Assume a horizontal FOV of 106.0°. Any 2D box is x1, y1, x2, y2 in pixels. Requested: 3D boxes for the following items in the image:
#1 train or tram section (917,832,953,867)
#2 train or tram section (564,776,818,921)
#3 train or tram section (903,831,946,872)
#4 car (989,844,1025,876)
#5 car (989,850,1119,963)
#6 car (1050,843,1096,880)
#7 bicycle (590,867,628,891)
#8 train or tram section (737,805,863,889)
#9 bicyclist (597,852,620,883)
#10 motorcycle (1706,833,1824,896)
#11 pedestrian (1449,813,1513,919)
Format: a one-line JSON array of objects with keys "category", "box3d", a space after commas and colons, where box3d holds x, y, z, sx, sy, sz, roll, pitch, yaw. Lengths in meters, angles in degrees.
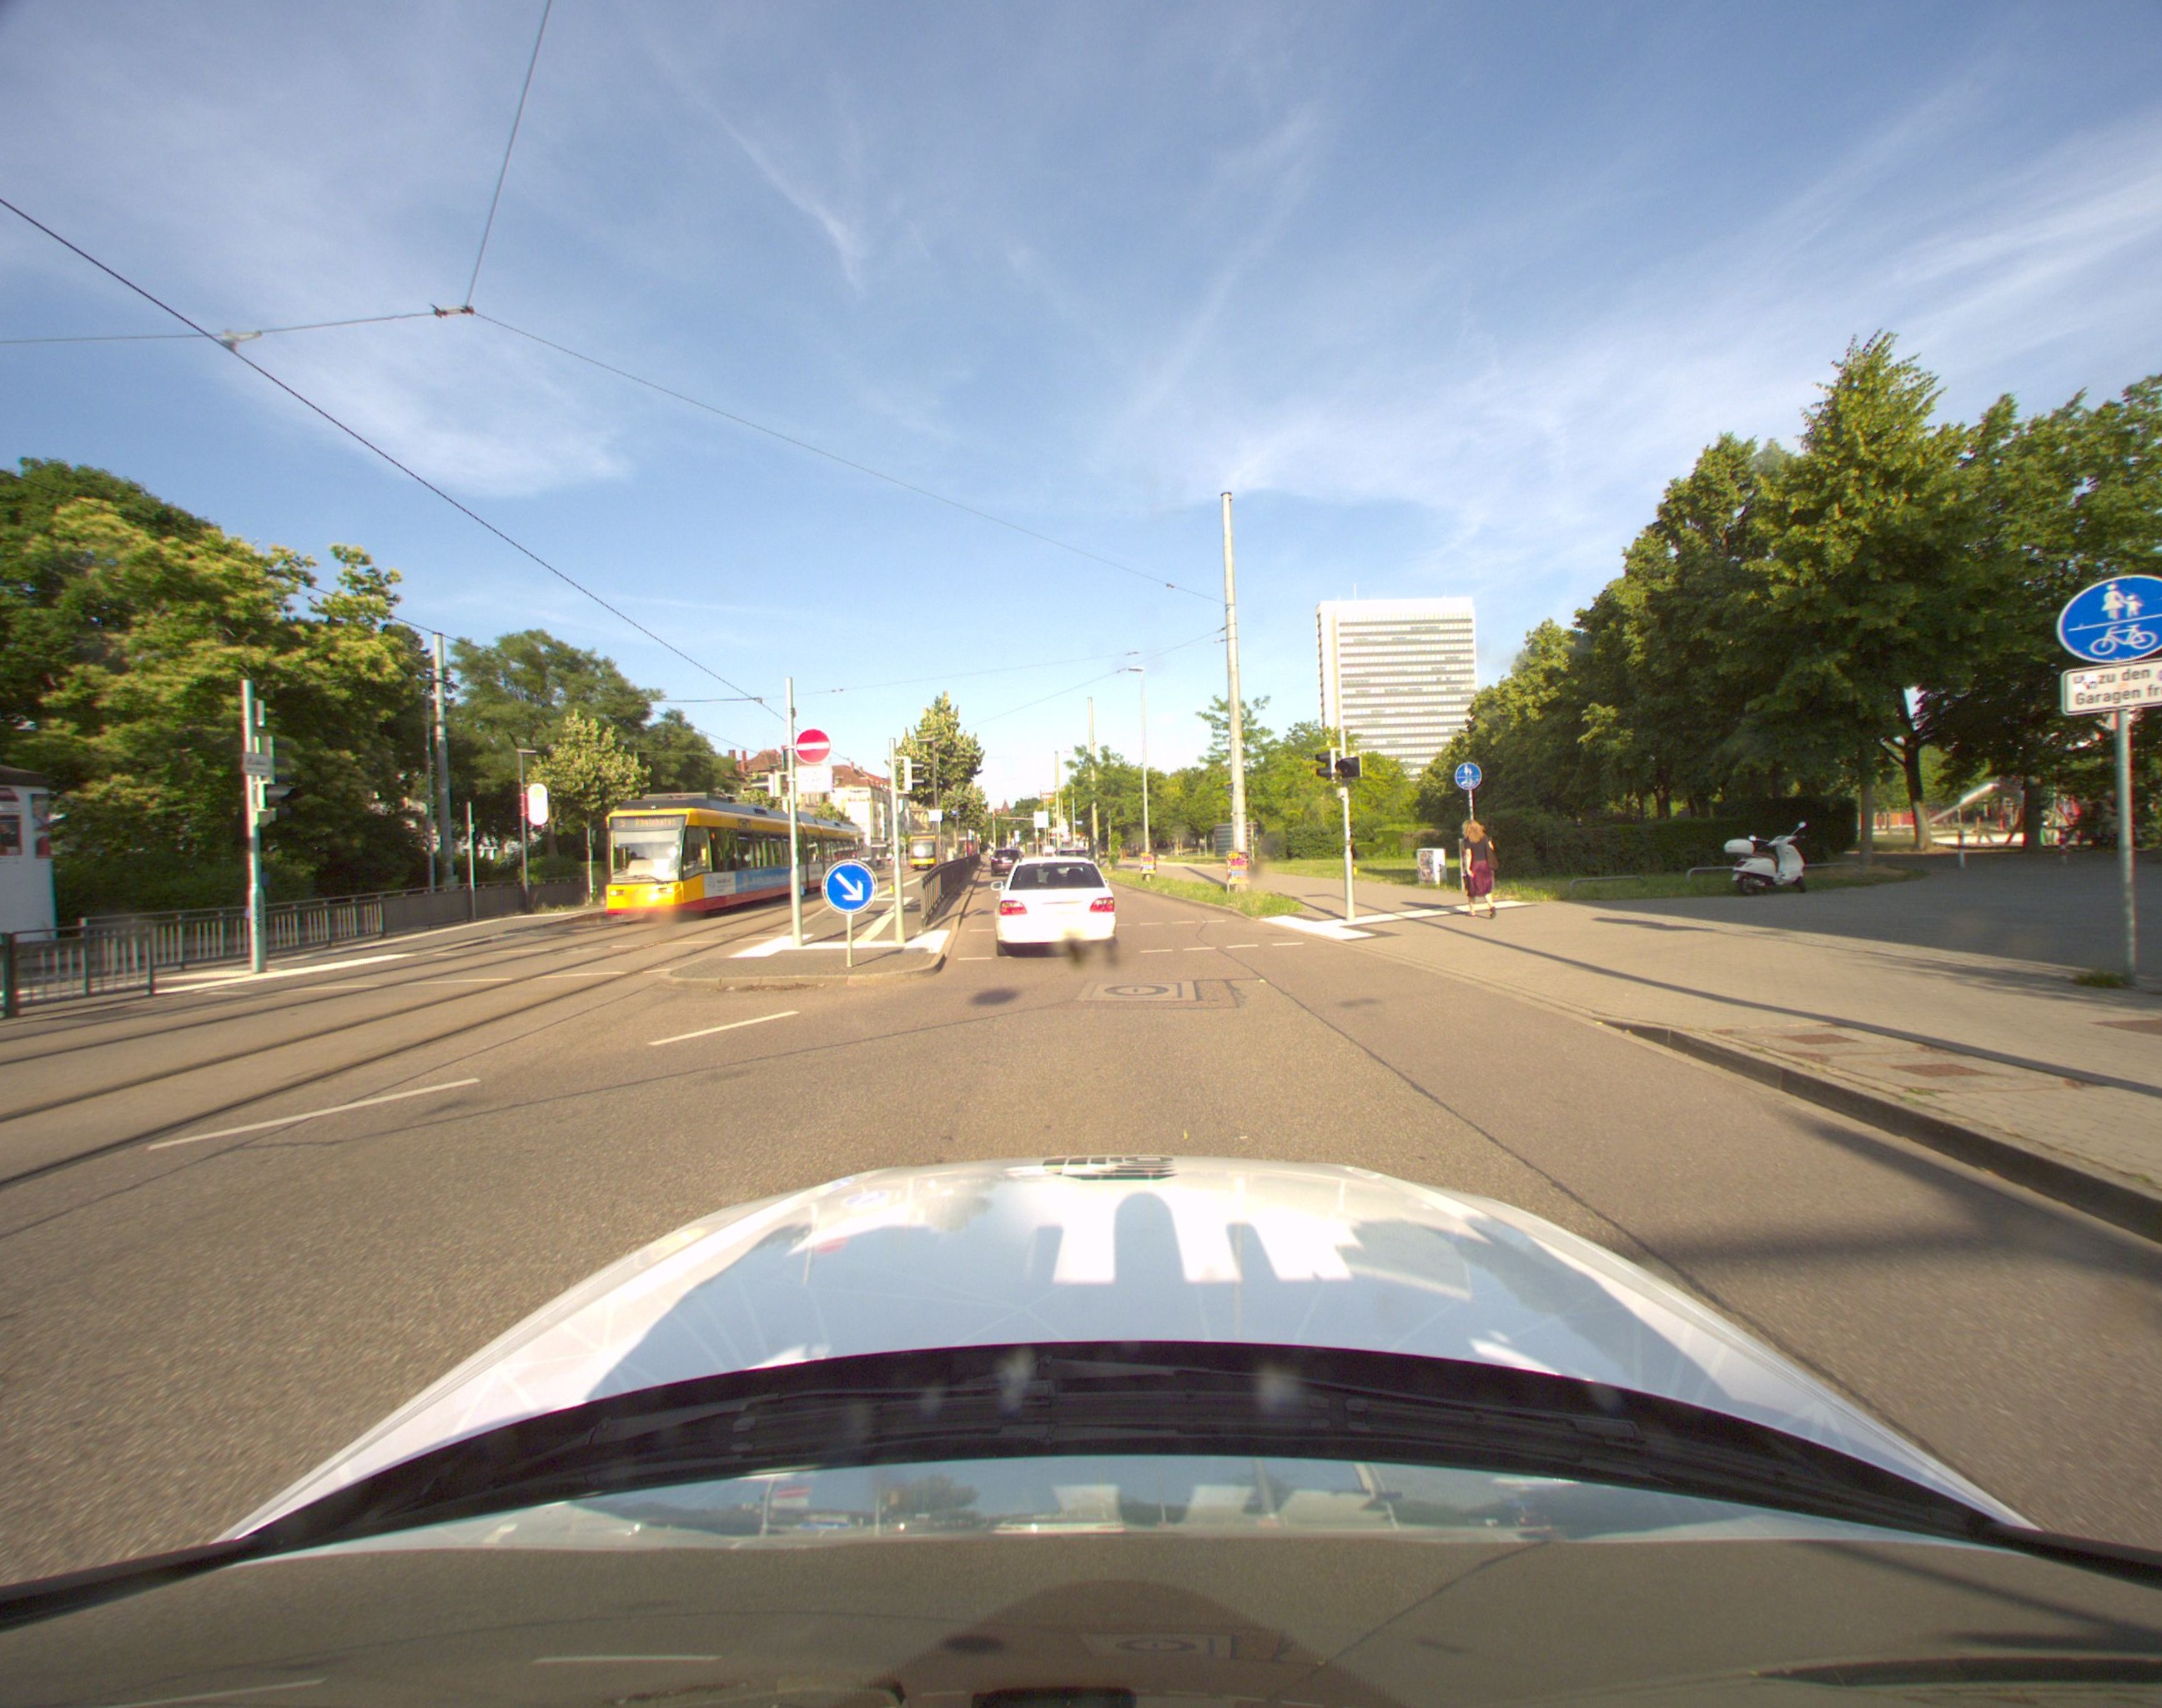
[{"category": "train or tram section", "box3d": [-15.628, -0.507, 88.093, 2.846, 3.479, 13.171, -1, 1, -6]}, {"category": "train or tram section", "box3d": [-11.804, -0.235, 27.057, 3.159, 3.479, 14.494, -1, 1, -8]}, {"category": "train or tram section", "box3d": [-14.245, -0.313, 75.153, 2.846, 3.479, 13.171, -1, 1, -6]}, {"category": "car", "box3d": [-4.177, 0.308, 46.573, 1.783, 1.689, 3.997, -1, 1, -2]}, {"category": "car", "box3d": [-0.436, 0.735, 13.191, 1.754, 1.503, 3.996, -1, -1, -2]}, {"category": "car", "box3d": [-0.425, 0.313, 38.905, 2.028, 1.605, 3.997, -1, 1, -2]}, {"category": "bicycle", "box3d": [-22.308, 1.150, 38.537, 0.540, 1.018, 2.248, -1, 1, -3]}, {"category": "train or tram section", "box3d": [-13.702, -0.381, 41.343, 3.159, 3.479, 14.434, -1, 1, -8]}, {"category": "bicyclist", "box3d": [-22.273, 0.623, 38.368, 0.649, 1.413, 0.716, -1, 0, -4]}, {"category": "motorcycle", "box3d": [13.422, 0.190, 15.998, 1.998, 1.159, 0.705, -1, 1, -12]}, {"category": "pedestrian", "box3d": [6.719, 0.190, 13.695, 0.613, 1.691, 0.548, -7, 1, -3]}]
